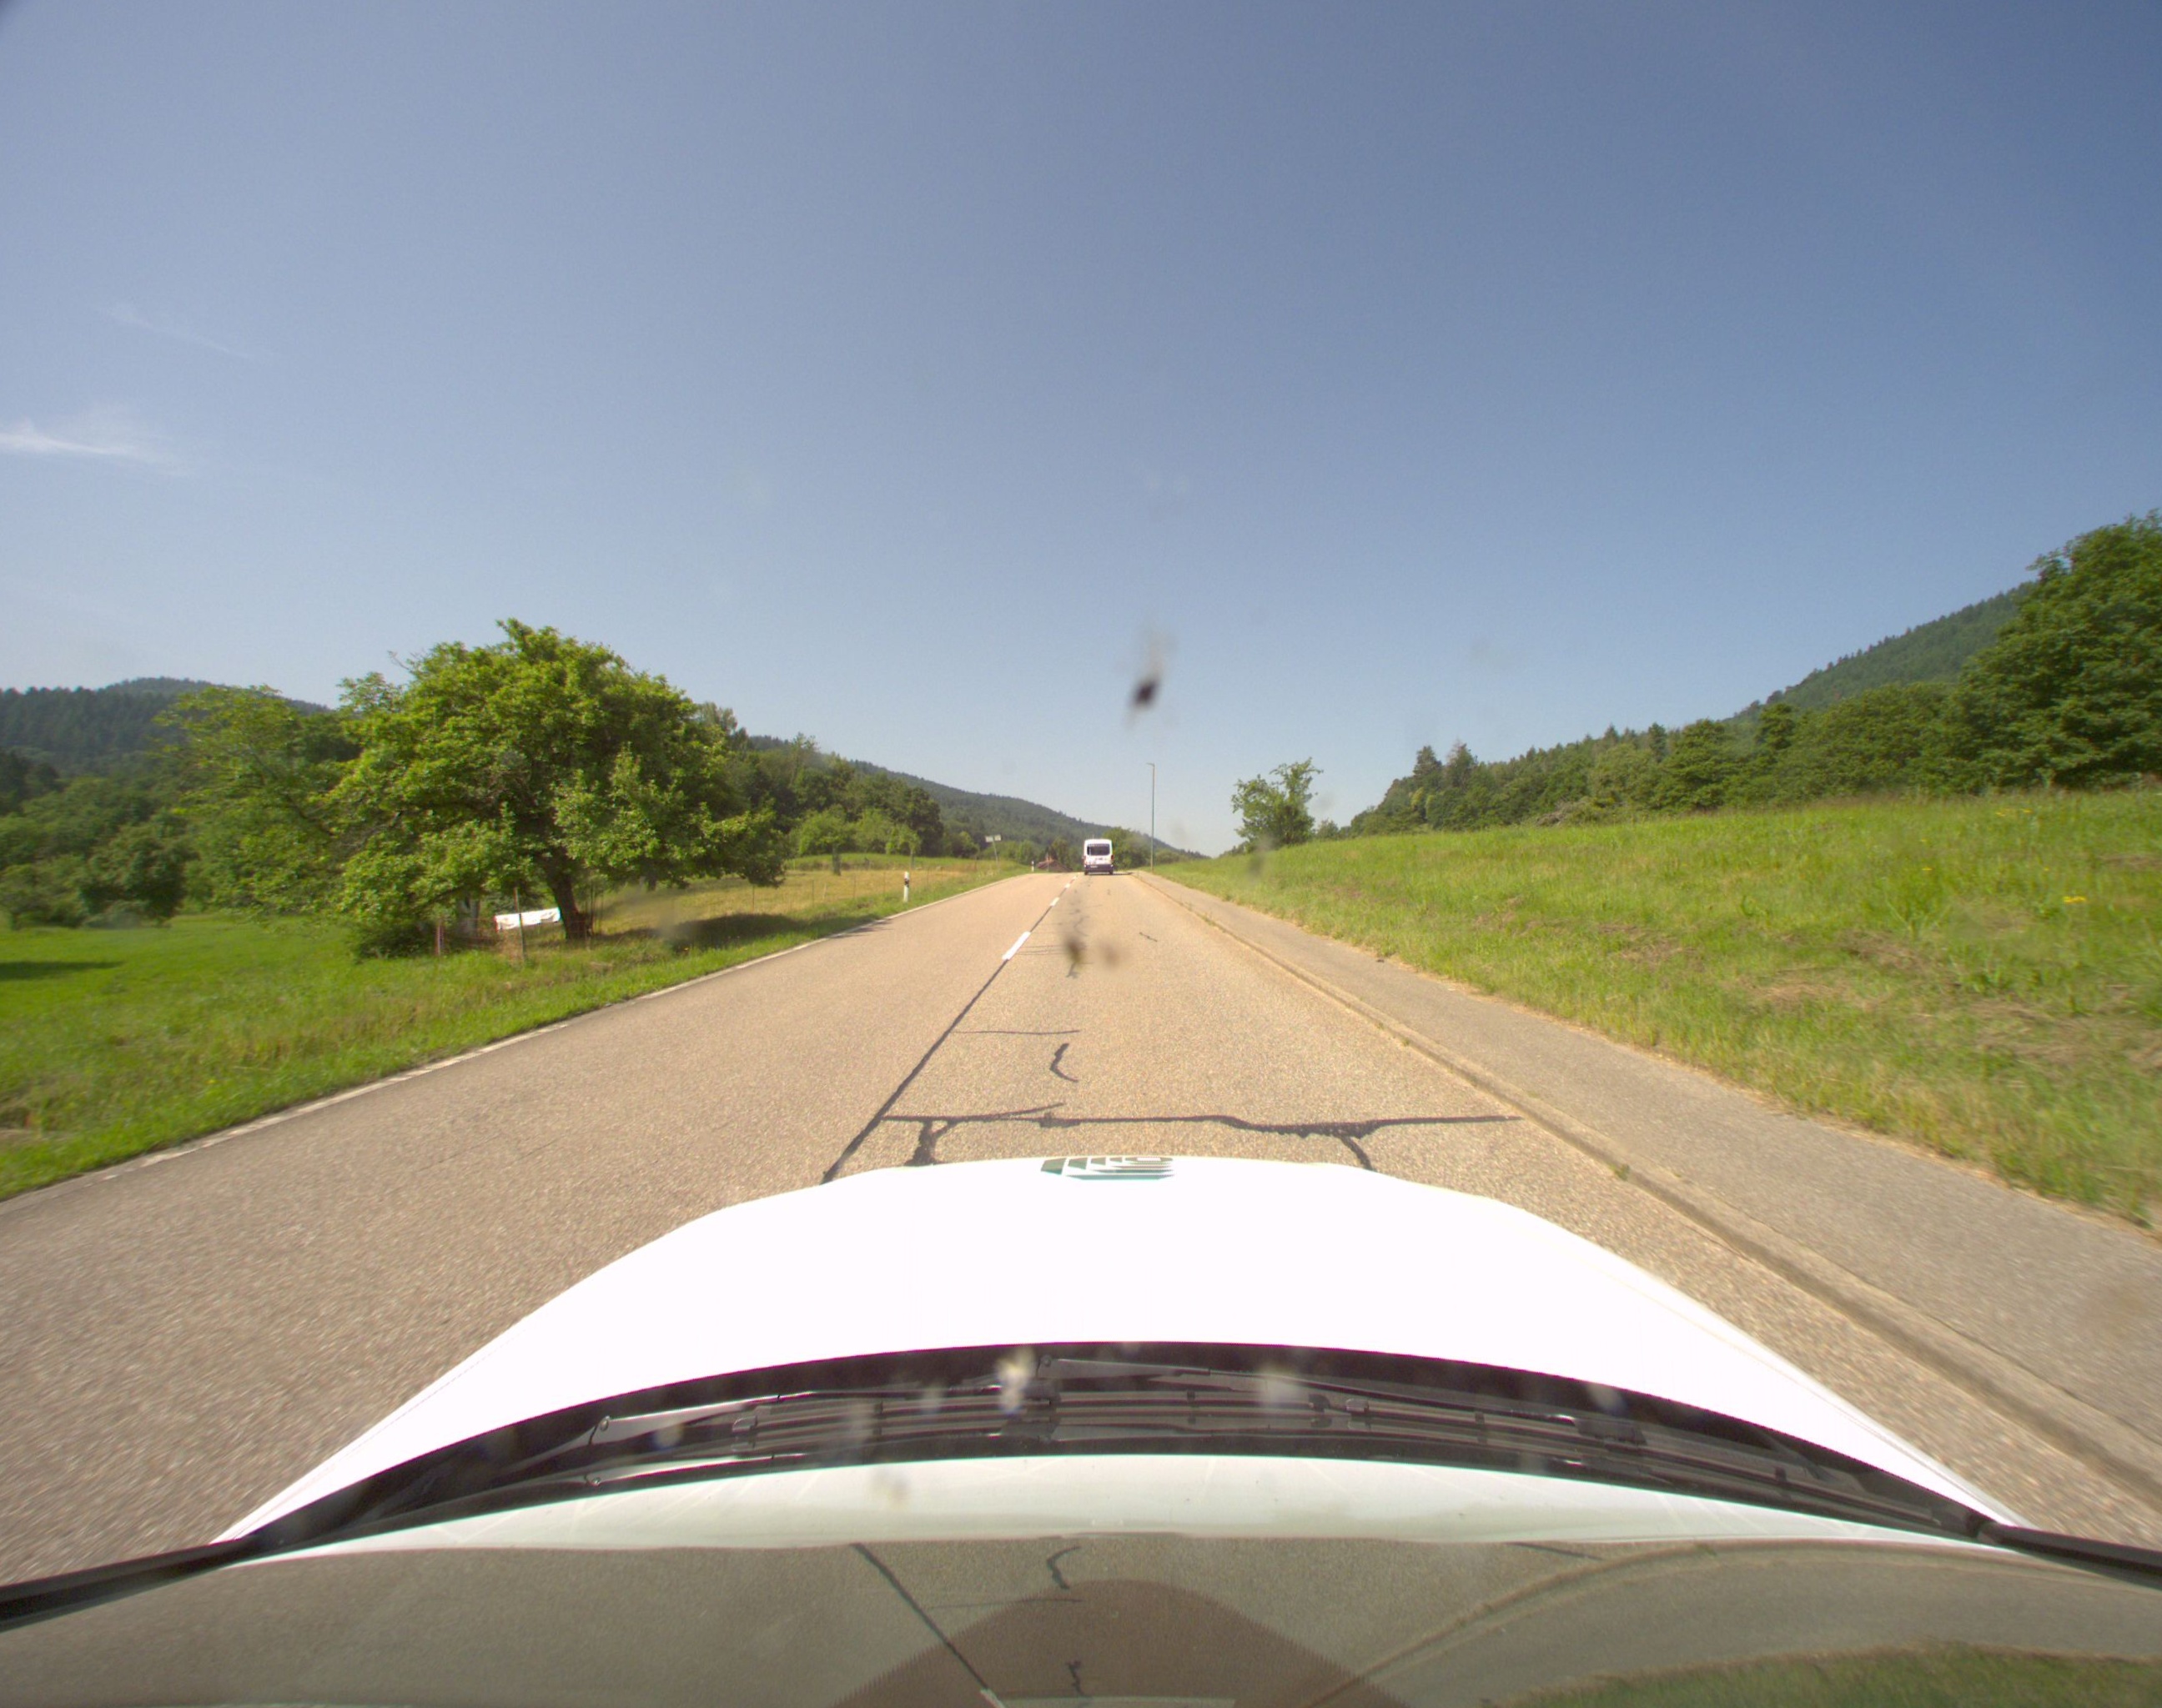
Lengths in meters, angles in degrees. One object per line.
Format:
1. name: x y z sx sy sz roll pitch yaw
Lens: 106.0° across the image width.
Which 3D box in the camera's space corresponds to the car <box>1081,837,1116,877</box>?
1. car: 1.233 0.289 57.502 2.215 2.526 4.984 -3 -2 1
